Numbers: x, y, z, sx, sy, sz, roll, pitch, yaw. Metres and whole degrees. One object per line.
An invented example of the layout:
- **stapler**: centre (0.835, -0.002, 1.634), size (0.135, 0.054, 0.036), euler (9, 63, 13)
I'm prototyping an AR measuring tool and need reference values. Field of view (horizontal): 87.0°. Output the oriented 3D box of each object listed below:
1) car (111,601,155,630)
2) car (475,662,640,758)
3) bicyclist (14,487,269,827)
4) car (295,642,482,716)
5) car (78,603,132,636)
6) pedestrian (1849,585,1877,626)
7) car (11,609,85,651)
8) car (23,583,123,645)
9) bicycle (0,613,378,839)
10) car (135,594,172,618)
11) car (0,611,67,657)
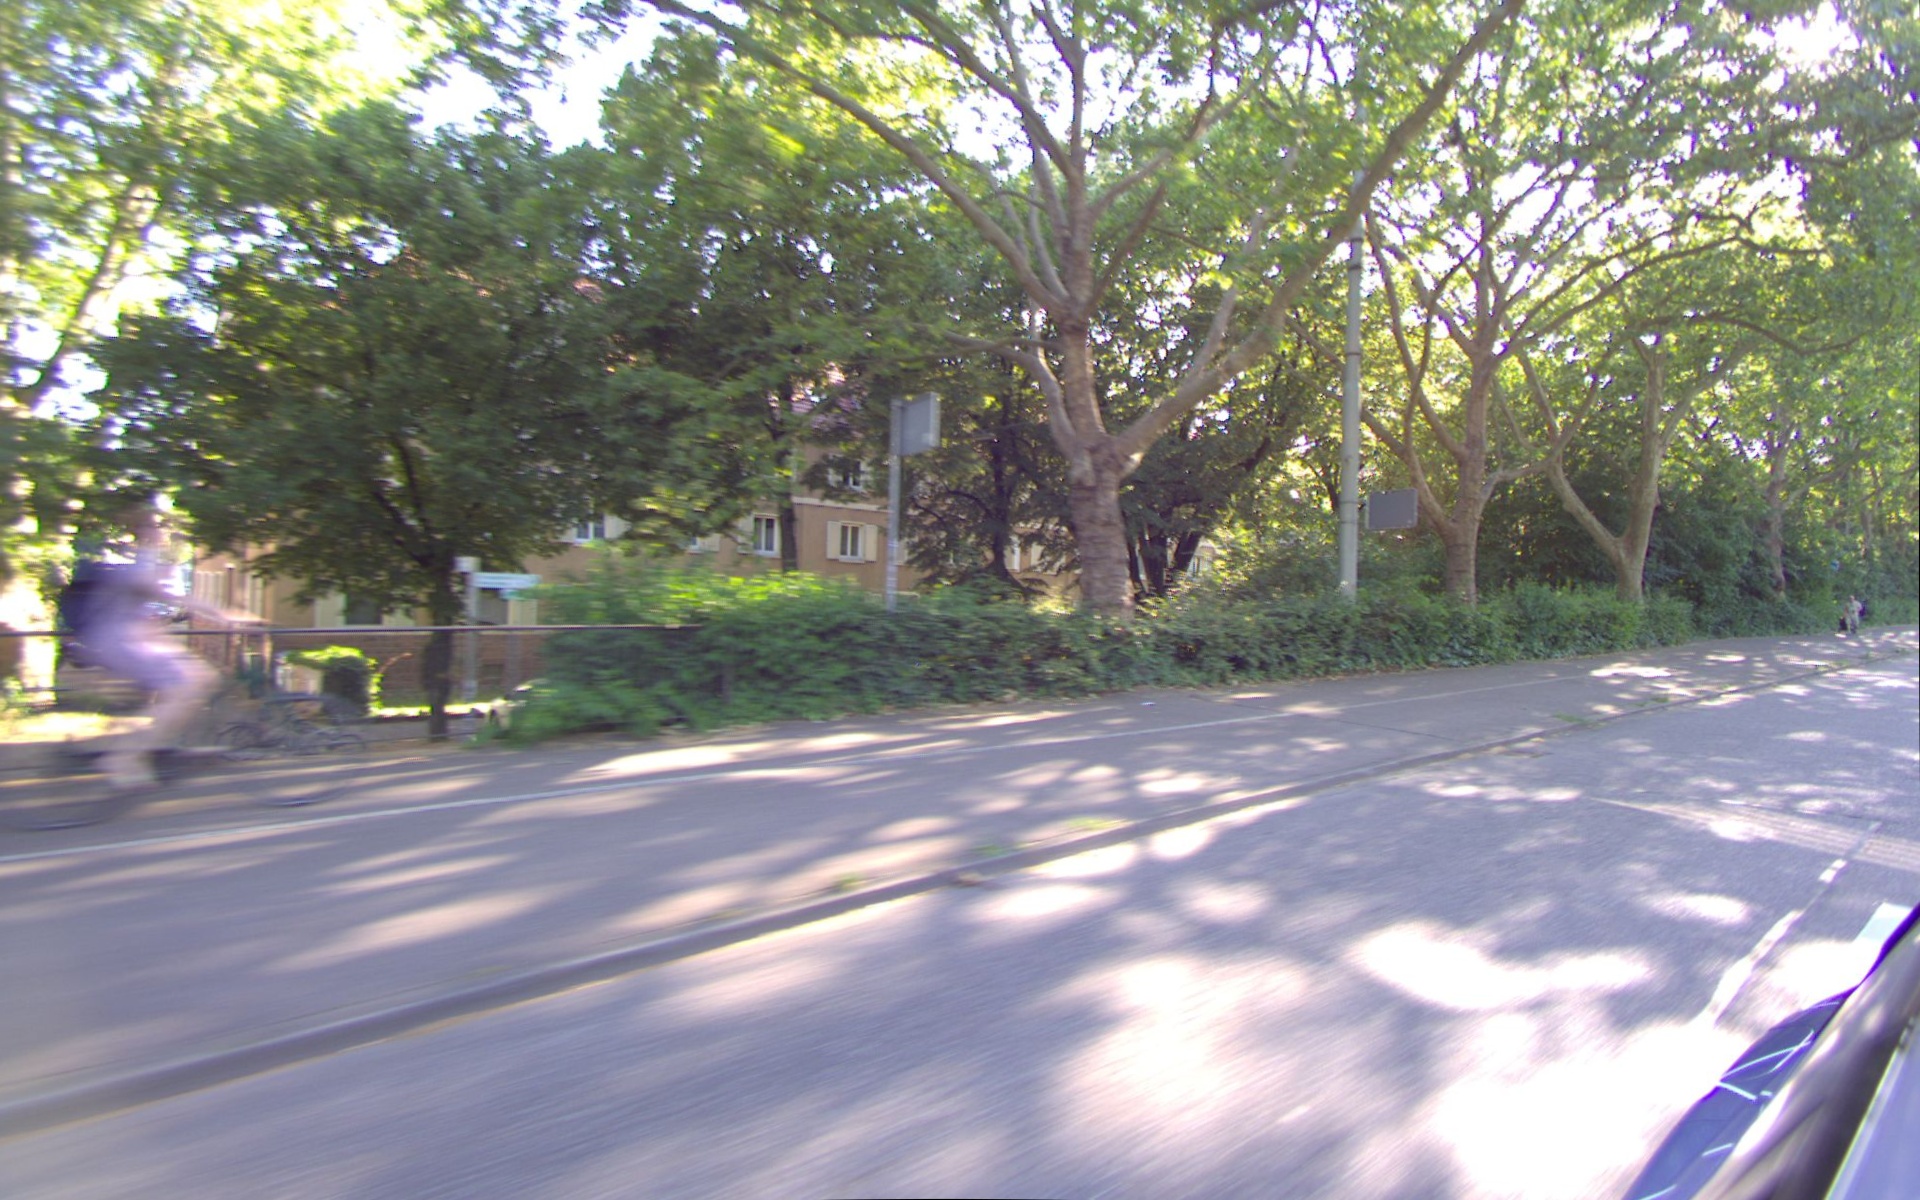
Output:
- **car**: centre (-51.184, 0.951, 62.703), size (1.766, 1.529, 4.152), euler (5, -2, -36)
- **car**: centre (-9.424, 2.463, 23.586), size (3.982, 1.533, 1.868), euler (5, 3, 39)
- **bicyclist**: centre (-4.610, 0.284, 5.793), size (1.059, 1.750, 0.702), euler (1, 1, -34)
- **car**: centre (-14.817, 1.981, 26.330), size (3.930, 1.528, 1.798), euler (1, 3, -41)
- **car**: centre (-45.452, 1.033, 53.839), size (1.766, 1.529, 4.152), euler (5, -2, -36)
- **pedestrian**: centre (37.457, 0.230, 41.983), size (0.911, 1.655, 0.650), euler (0, 3, -40)
- **car**: centre (-38.291, 1.239, 42.577), size (1.766, 1.529, 4.152), euler (5, -2, -36)
- **car**: centre (-41.828, 0.591, 47.904), size (2.485, 2.654, 6.125), euler (4, -2, -33)
- **bicycle**: centre (-4.500, 0.654, 5.878), size (1.893, 1.121, 0.702), euler (0, 1, -34)
- **car**: centre (-58.127, 0.425, 72.972), size (1.766, 1.529, 4.152), euler (5, -2, -36)
- **car**: centre (-35.871, 1.285, 38.949), size (1.766, 1.529, 4.152), euler (5, -2, -36)
